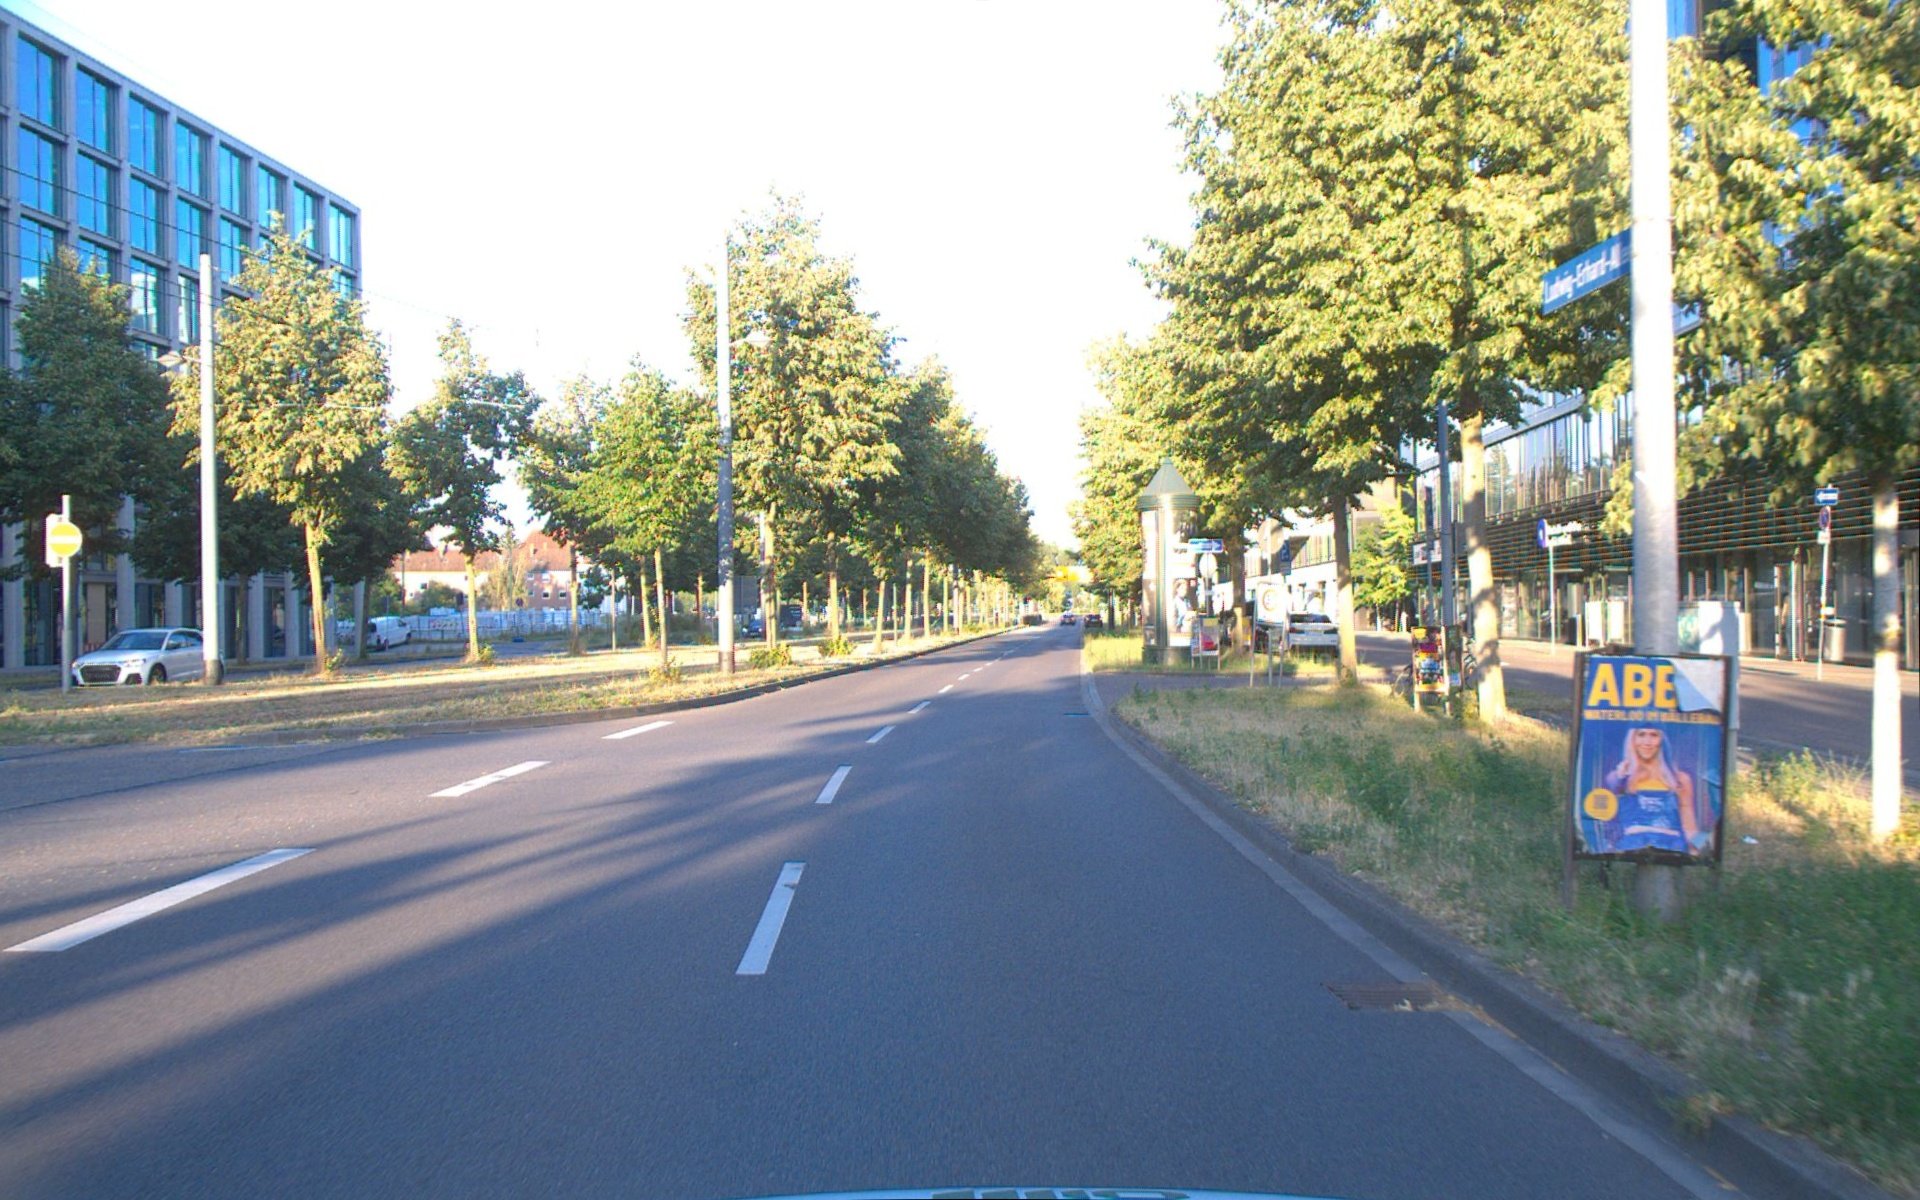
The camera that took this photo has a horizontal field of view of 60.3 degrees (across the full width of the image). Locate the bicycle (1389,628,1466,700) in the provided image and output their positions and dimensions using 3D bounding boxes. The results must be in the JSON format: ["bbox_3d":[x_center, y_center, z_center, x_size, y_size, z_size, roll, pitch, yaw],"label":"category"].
[{"bbox_3d":[7.005,0.944,24.843,0.567,1.012,1.685,-1,-1,-4],"label":"bicycle"}]

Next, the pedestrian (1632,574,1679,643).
[{"bbox_3d":[18.863,0.224,44.858,0.878,1.828,0.913,-1,-1,3],"label":"pedestrian"}]

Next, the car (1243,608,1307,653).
[{"bbox_3d":[11.424,1.098,60.276,1.820,1.523,4.292,-1,0,5],"label":"car"}]

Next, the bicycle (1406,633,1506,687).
[{"bbox_3d":[8.870,1.068,29.593,1.690,0.926,0.361,-1,-1,38],"label":"bicycle"}]

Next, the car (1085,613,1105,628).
[{"bbox_3d":[13.494,2.037,165.202,1.871,1.512,4.001,0,-1,3],"label":"car"}]

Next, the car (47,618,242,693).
[{"bbox_3d":[-17.971,1.177,36.715,1.863,1.511,4.632,-1,-1,2],"label":"car"}]

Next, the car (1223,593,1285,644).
[{"bbox_3d":[11.979,0.761,67.692,1.944,2.024,4.934,0,-1,4],"label":"car"}]

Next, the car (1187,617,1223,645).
[{"bbox_3d":[14.241,1.816,96.334,1.743,1.520,4.002,2,0,4],"label":"car"}]

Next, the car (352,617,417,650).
[{"bbox_3d":[-37.717,2.184,108.511,2.160,2.049,5.086,-1,-1,4],"label":"car"}]

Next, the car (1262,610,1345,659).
[{"bbox_3d":[11.198,1.120,54.225,1.877,1.523,5.042,0,-1,2],"label":"car"}]

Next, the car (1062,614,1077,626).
[{"bbox_3d":[14.018,2.528,211.444,1.871,1.512,4.001,-1,-1,3],"label":"car"}]
